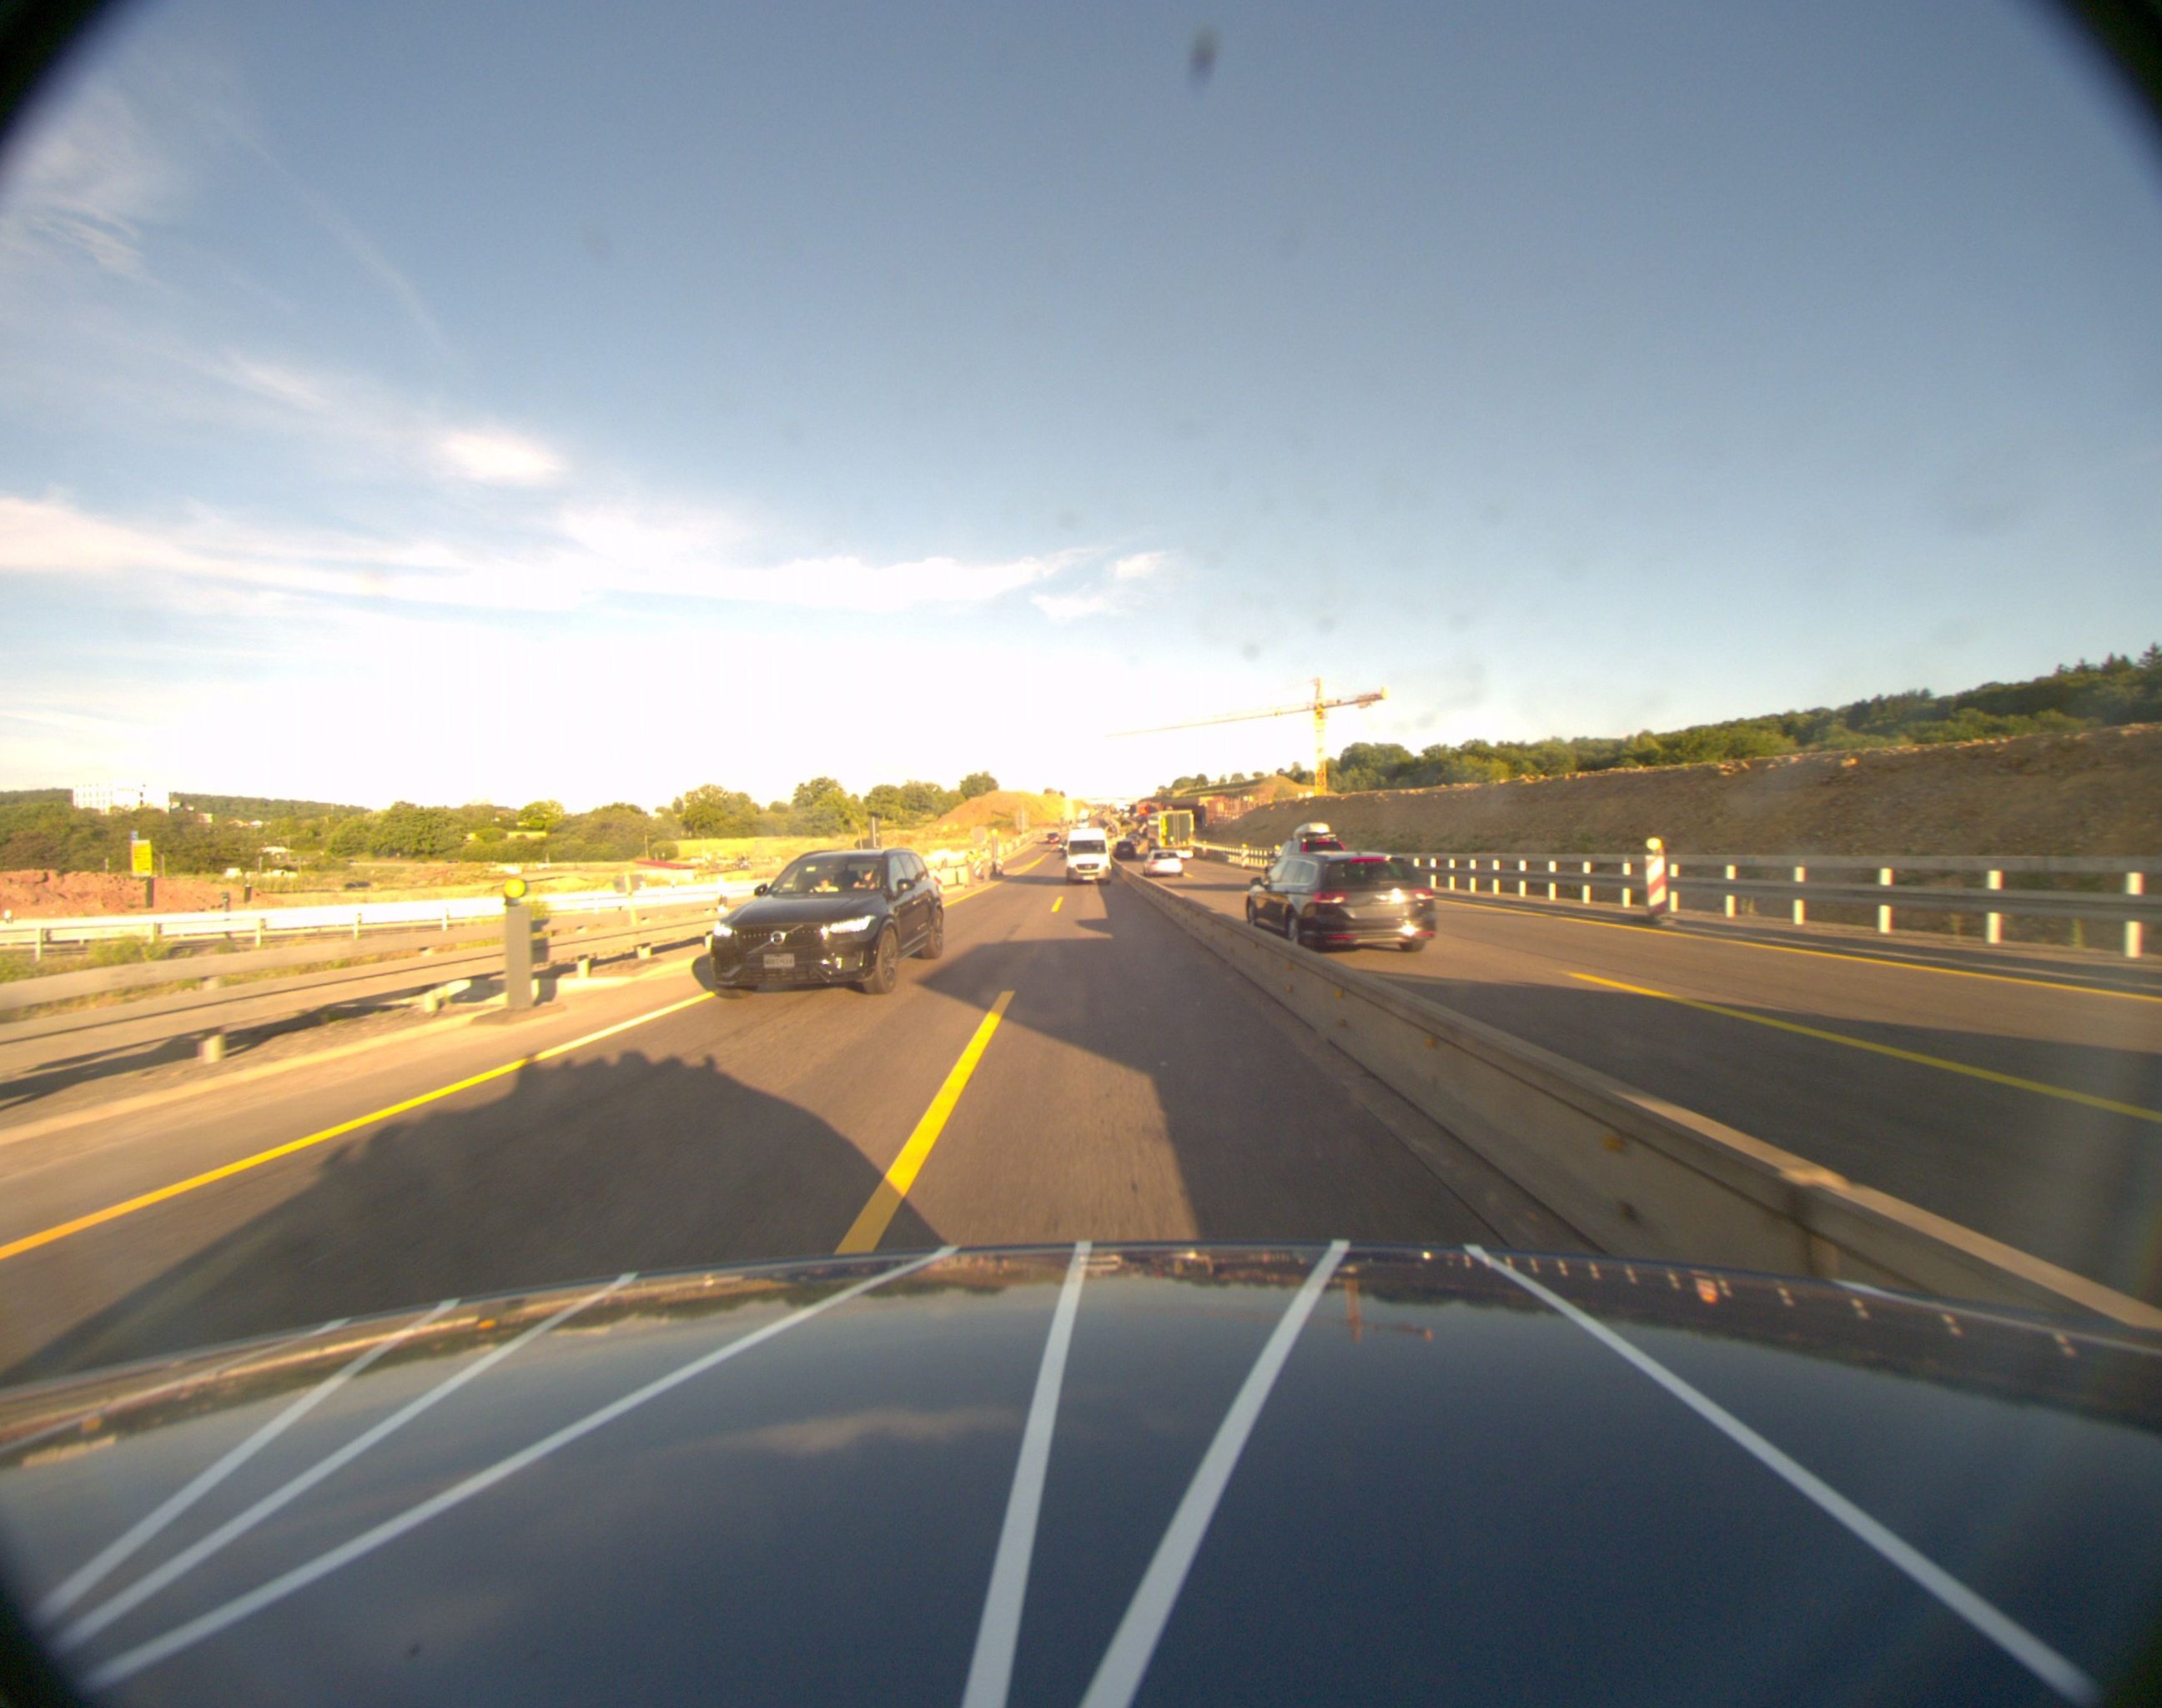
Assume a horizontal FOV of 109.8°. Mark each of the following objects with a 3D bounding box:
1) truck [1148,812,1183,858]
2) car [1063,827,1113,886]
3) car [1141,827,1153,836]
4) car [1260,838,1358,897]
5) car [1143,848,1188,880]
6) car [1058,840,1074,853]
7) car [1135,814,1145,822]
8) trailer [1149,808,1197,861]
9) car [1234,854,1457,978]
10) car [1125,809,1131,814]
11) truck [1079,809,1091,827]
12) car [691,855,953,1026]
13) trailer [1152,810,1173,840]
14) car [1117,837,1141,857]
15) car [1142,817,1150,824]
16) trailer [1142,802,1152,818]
[{"bbox_3d":[7.997,-1.812,72.766,2.776,4.058,5.775,-2,1,2],"label":"truck"},{"bbox_3d":[0.379,0.058,35.944,2.109,2.518,5.219,-2,1,2],"label":"car"},{"bbox_3d":[11.706,-3.957,134.104,1.853,1.475,4.511,-1,3,7],"label":"car"},{"bbox_3d":[7.574,0.372,25.721,1.998,1.754,4.439,-3,1,1],"label":"car"},{"bbox_3d":[4.403,0.488,40.185,1.866,1.424,4.154,-3,1,0],"label":"car"},{"bbox_3d":[-1.753,-0.866,91.910,1.791,1.477,4.000,-2,0,0],"label":"car"},{"bbox_3d":[16.776,-10.223,215.921,1.997,2.003,5.256,-3,4,10],"label":"car"},{"bbox_3d":[7.770,-1.680,65.770,2.780,4.008,13.680,-2,1,2],"label":"trailer"},{"bbox_3d":[3.793,0.774,11.882,1.820,1.454,4.705,-2,0,0],"label":"car"},{"bbox_3d":[16.323,-14.813,265.124,1.734,1.592,4.657,-3,4,1],"label":"car"},{"bbox_3d":[0.970,-7.949,167.006,2.263,3.707,6.569,-5,3,0],"label":"truck"},{"bbox_3d":[-3.158,0.919,10.503,1.902,1.703,4.887,-3,0,0],"label":"car"},{"bbox_3d":[12.515,-4.525,115.852,2.536,4.191,13.934,-3,3,8],"label":"trailer"},{"bbox_3d":[4.453,-0.691,71.037,1.916,1.600,4.493,-2,2,1],"label":"car"},{"bbox_3d":[16.689,-8.732,195.250,1.792,1.611,4.873,-3,4,9],"label":"car"},{"bbox_3d":[20.281,-13.436,232.802,2.589,4.448,14.129,-3,4,4],"label":"trailer"}]
